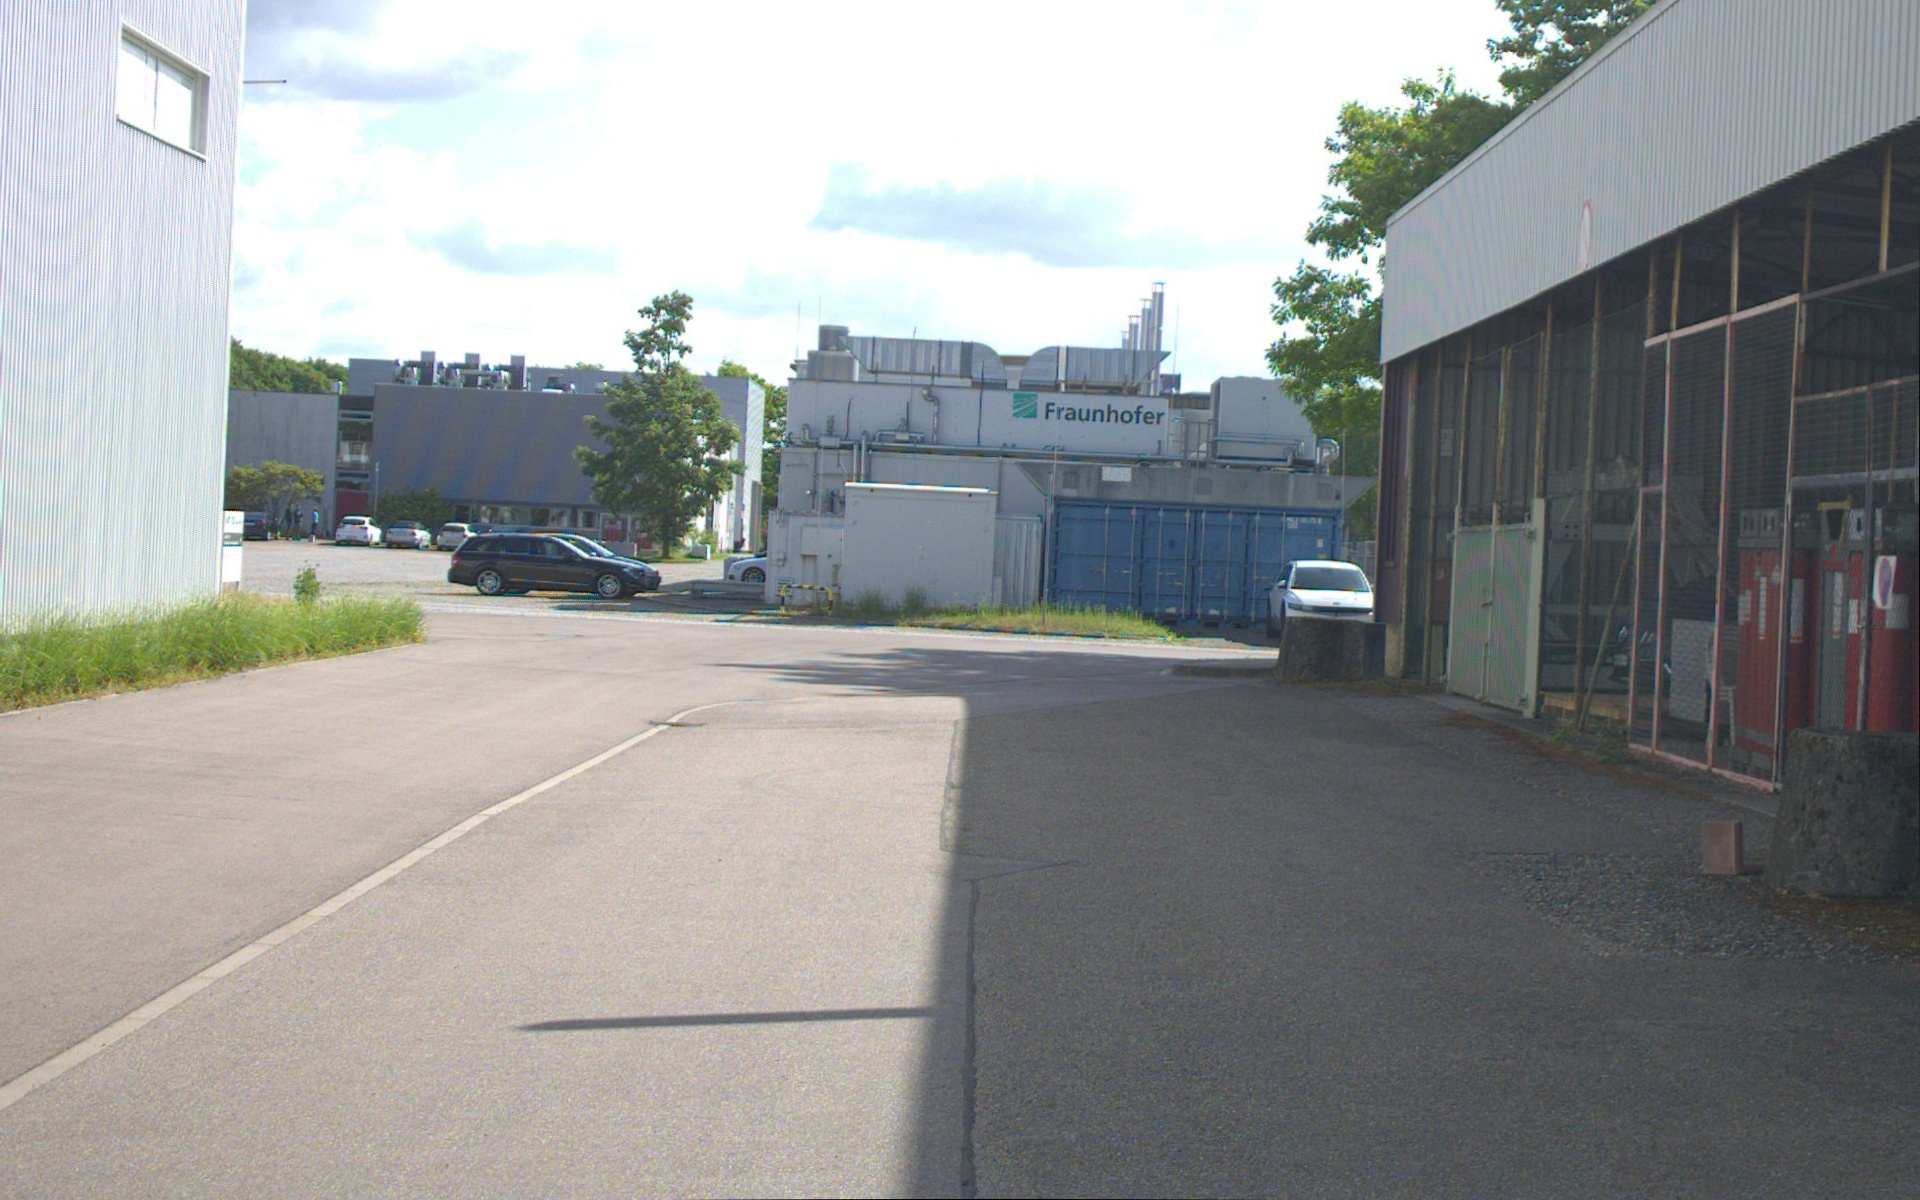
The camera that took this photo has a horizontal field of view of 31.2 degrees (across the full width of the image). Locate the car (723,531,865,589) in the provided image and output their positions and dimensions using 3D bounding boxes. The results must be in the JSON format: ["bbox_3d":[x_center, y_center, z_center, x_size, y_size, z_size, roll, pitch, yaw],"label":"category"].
[{"bbox_3d":[-5.177,-1.255,107.700,4.279,1.564,1.987,3,-1,1],"label":"car"}]

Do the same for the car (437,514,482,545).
[{"bbox_3d":[-25.771,-3.636,177.123,1.877,1.532,4.036,1,1,-2],"label":"car"}]

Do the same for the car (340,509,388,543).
[{"bbox_3d":[-30.664,-3.812,177.089,1.877,1.684,4.036,1,1,-2],"label":"car"}]

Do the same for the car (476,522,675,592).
[{"bbox_3d":[-9.294,-1.029,83.243,4.529,1.438,1.904,3,-1,1],"label":"car"}]

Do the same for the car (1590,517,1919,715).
[{"bbox_3d":[9.616,0.206,36.778,5.164,1.912,2.279,3,0,-5],"label":"car"}]

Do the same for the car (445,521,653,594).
[{"bbox_3d":[-9.538,-0.988,79.986,4.529,1.438,1.987,3,-1,1],"label":"car"}]

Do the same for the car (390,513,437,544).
[{"bbox_3d":[-28.100,-3.682,176.919,1.877,1.532,4.036,1,1,-2],"label":"car"}]

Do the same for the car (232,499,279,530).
[{"bbox_3d":[-36.223,-4.396,176.880,1.877,1.532,4.036,1,1,-5],"label":"car"}]

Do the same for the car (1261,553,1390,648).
[{"bbox_3d":[7.111,-0.026,67.267,1.981,1.588,4.341,3,2,0],"label":"car"}]
